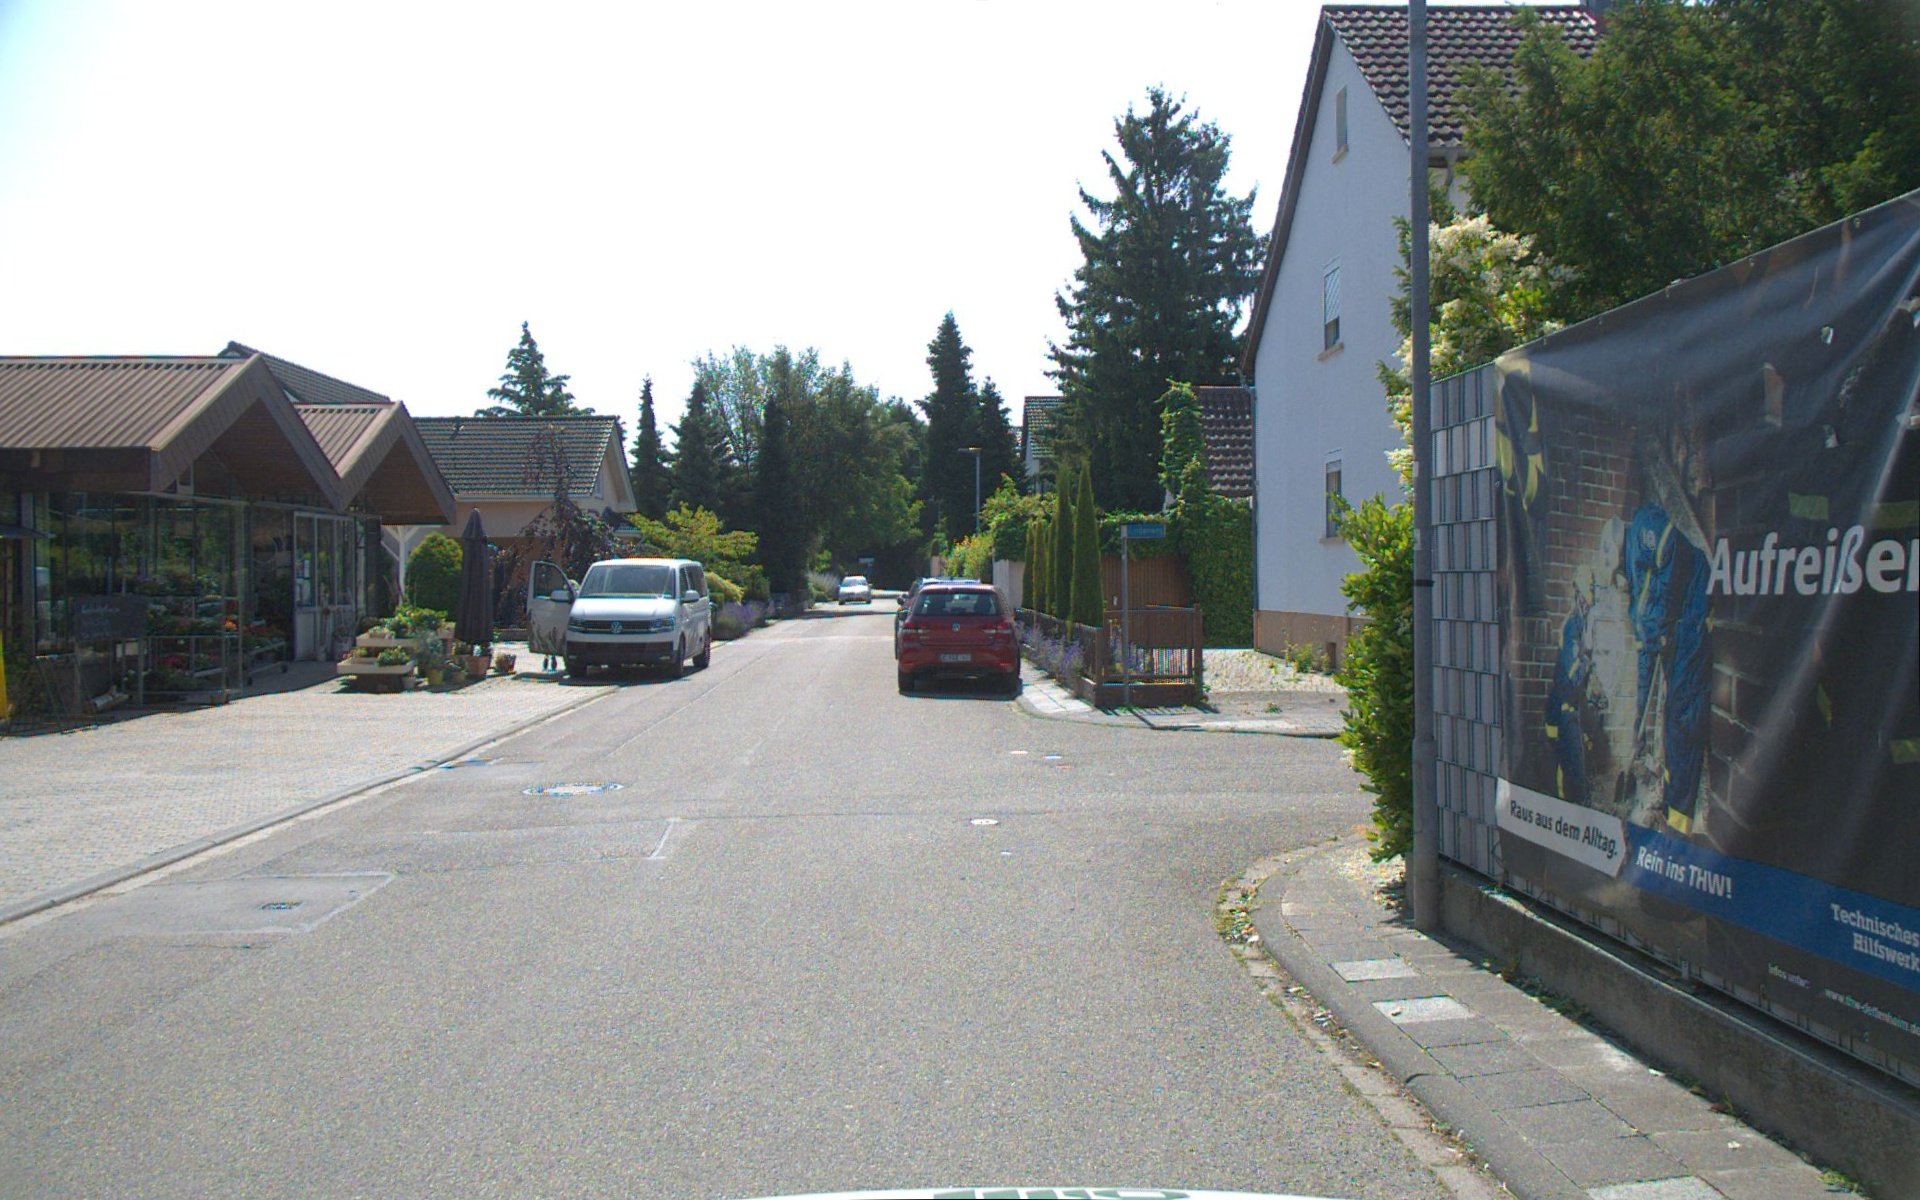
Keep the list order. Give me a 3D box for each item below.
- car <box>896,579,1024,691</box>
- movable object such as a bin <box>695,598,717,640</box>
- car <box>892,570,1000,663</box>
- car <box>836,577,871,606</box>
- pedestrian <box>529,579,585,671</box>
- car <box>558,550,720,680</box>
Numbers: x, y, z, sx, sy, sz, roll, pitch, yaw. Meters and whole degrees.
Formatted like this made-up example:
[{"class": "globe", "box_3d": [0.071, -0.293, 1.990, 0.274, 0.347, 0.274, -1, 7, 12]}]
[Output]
[{"class": "car", "box_3d": [0.049, 0.463, 24.678, 1.739, 1.505, 4.001, 1, 1, 1]}, {"class": "movable object such as a bin", "box_3d": [-6.444, 0.478, 41.968, 0.484, 1.042, 0.447, -1, 1, -2]}, {"class": "car", "box_3d": [-0.333, 0.271, 31.520, 1.787, 1.643, 3.996, 0, 1, -5]}, {"class": "car", "box_3d": [-5.813, -0.494, 90.615, 1.717, 1.513, 4.374, -1, 1, -1]}, {"class": "pedestrian", "box_3d": [-7.006, 0.417, 28.775, 0.704, 1.565, 0.640, 0, 1, 31]}, {"class": "car", "box_3d": [-5.472, 0.217, 28.826, 1.889, 2.049, 4.895, -1, 1, 0]}]
